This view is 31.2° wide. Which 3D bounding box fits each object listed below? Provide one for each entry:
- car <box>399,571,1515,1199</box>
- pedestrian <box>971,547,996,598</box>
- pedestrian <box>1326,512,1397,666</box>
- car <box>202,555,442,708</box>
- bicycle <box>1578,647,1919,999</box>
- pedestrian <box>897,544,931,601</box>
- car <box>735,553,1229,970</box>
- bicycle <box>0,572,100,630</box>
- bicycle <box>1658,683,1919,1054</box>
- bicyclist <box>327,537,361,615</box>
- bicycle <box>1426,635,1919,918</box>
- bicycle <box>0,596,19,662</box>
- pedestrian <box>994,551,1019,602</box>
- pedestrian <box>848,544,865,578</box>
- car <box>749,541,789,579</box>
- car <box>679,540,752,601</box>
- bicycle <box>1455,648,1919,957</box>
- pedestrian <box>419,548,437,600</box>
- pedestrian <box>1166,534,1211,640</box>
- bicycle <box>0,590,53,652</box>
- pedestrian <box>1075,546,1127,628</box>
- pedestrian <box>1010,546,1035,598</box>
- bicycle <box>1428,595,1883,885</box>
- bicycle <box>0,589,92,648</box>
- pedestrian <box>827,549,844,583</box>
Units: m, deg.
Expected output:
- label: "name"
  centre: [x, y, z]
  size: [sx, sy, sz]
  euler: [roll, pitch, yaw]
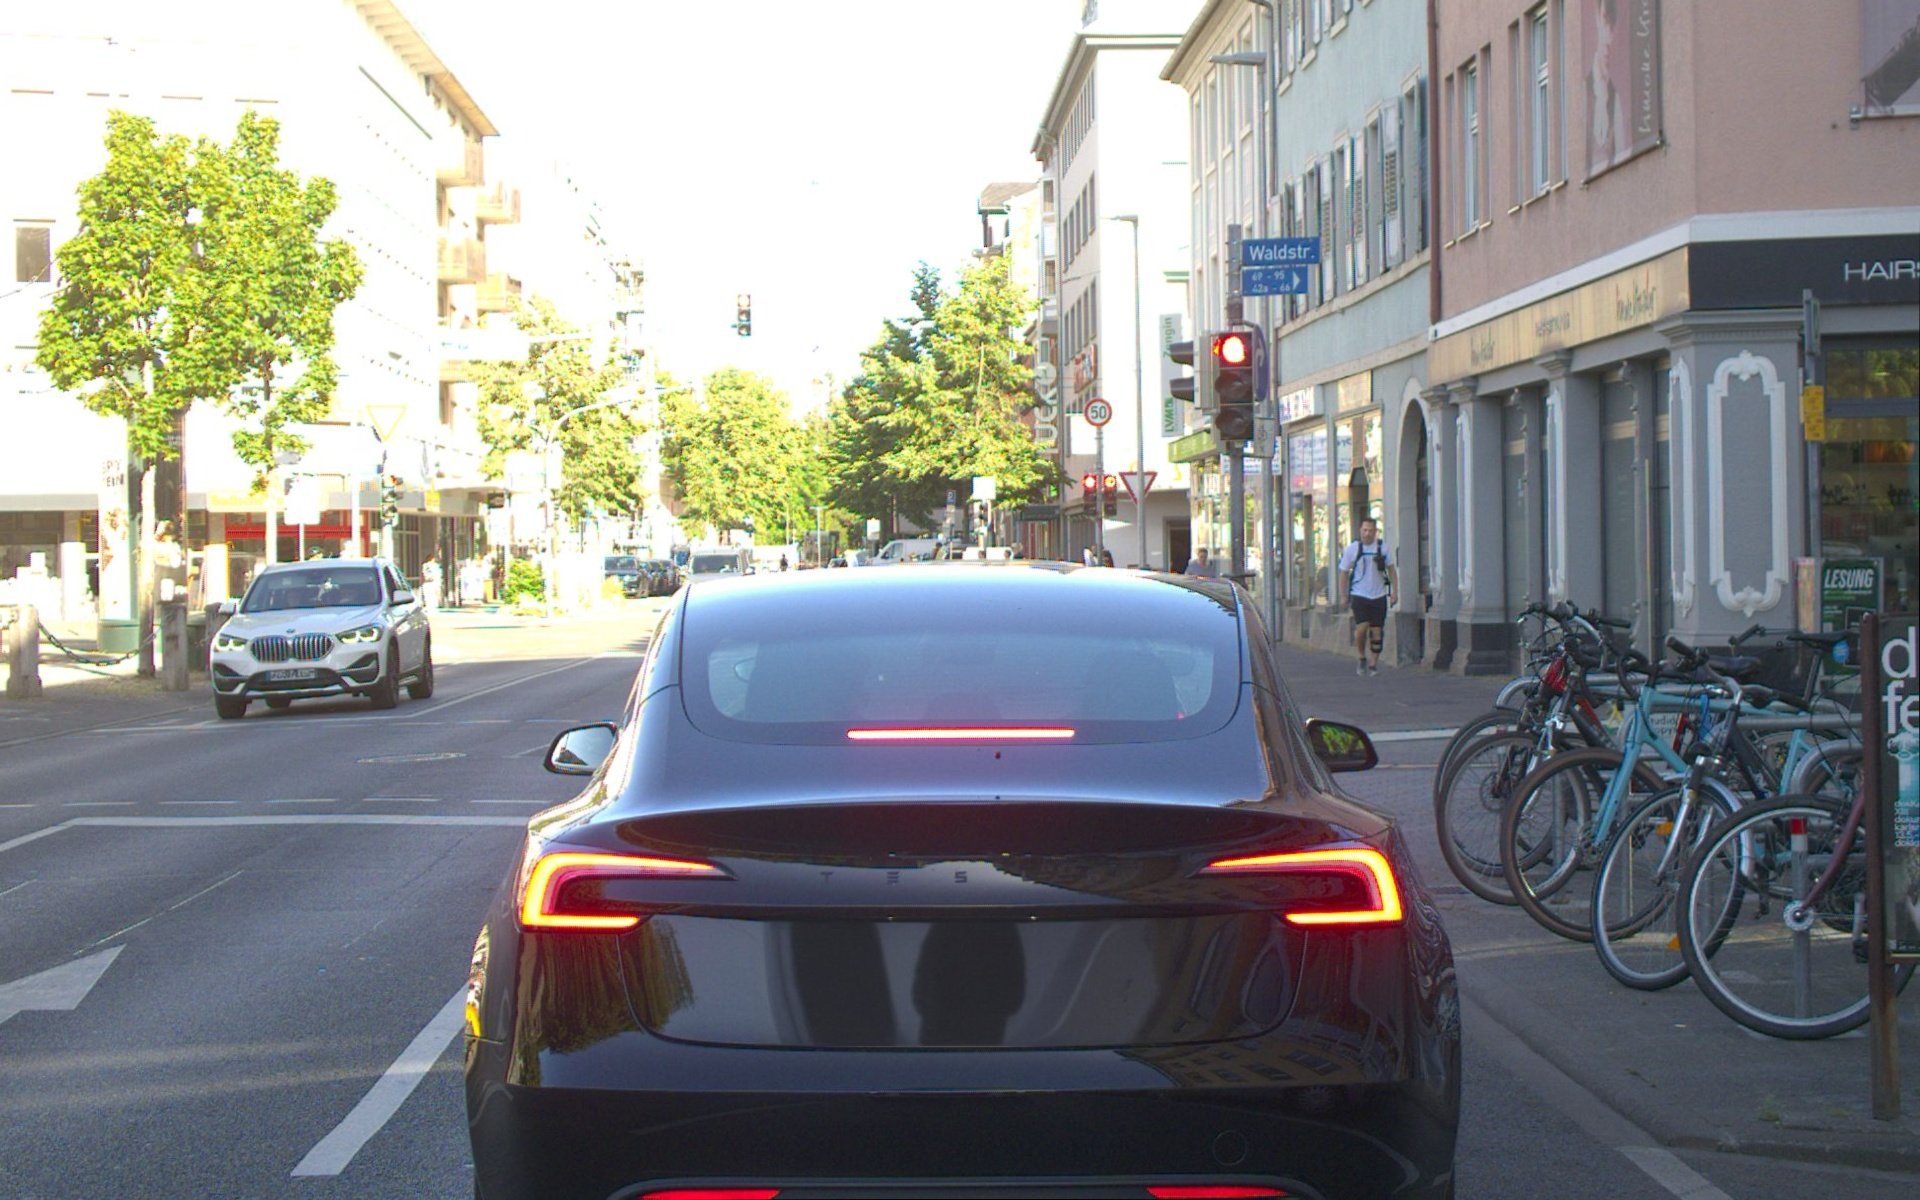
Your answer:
- label: "car"
  centre: [-0.027, 0.658, 7.622]
  size: [1.822, 1.437, 4.000]
  euler: [0, 1, -1]
- label: "pedestrian"
  centre: [0.647, -0.767, 95.822]
  size: [0.472, 1.412, 0.522]
  euler: [1, 0, -31]
- label: "pedestrian"
  centre: [4.630, -0.130, 39.698]
  size: [0.750, 1.759, 0.836]
  euler: [1, 0, 4]
- label: "car"
  centre: [-6.654, 0.292, 36.203]
  size: [1.789, 1.455, 3.757]
  euler: [-2, 1, 0]
- label: "bicycle"
  centre: [2.993, 0.704, 11.164]
  size: [1.873, 1.084, 0.414]
  euler: [-2, 0, 4]
- label: "pedestrian"
  centre: [-1.389, -0.837, 103.712]
  size: [0.715, 1.689, 0.851]
  euler: [0, 1, -28]
- label: "car"
  centre: [0.010, 0.536, 13.836]
  size: [1.718, 1.420, 3.758]
  euler: [0, 1, -2]
- label: "bicycle"
  centre: [-20.772, 0.017, 78.018]
  size: [2.361, 1.291, 0.513]
  euler: [1, 0, -26]
- label: "bicycle"
  centre: [3.011, 0.757, 9.971]
  size: [1.873, 1.034, 0.353]
  euler: [-2, 0, 6]
- label: "bicyclist"
  centre: [-11.861, -0.467, 66.156]
  size: [0.522, 1.498, 0.476]
  euler: [1, 0, -25]
- label: "bicycle"
  centre: [2.819, 0.691, 13.611]
  size: [1.873, 1.034, 0.547]
  euler: [-2, 0, 5]
- label: "bicycle"
  centre: [-14.650, 0.408, 49.802]
  size: [1.864, 0.931, 0.606]
  euler: [1, 0, -1]
- label: "pedestrian"
  centre: [1.285, -0.654, 95.174]
  size: [0.521, 1.417, 0.479]
  euler: [1, 0, -30]
- label: "pedestrian"
  centre: [-6.152, -2.288, 204.062]
  size: [0.930, 2.007, 0.938]
  euler: [1, 0, -1]
- label: "car"
  centre: [-10.396, -2.206, 187.247]
  size: [1.993, 2.007, 4.000]
  euler: [1, 1, -1]
- label: "car"
  centre: [-6.898, -0.838, 97.273]
  size: [1.787, 1.640, 4.403]
  euler: [1, 1, -1]
- label: "bicycle"
  centre: [2.775, 0.722, 12.459]
  size: [1.873, 1.034, 0.533]
  euler: [-2, 0, 4]
- label: "pedestrian"
  centre: [-14.886, -0.719, 96.158]
  size: [0.459, 1.455, 0.518]
  euler: [0, 1, -5]
- label: "pedestrian"
  centre: [3.780, -0.220, 56.973]
  size: [0.706, 1.736, 0.540]
  euler: [0, 1, -1]
- label: "bicycle"
  centre: [-14.813, 0.322, 52.318]
  size: [1.864, 0.931, 0.606]
  euler: [0, 1, -1]
- label: "pedestrian"
  centre: [2.843, -0.265, 69.376]
  size: [0.754, 1.626, 0.956]
  euler: [1, 0, -18]
- label: "pedestrian"
  centre: [1.738, -0.780, 95.779]
  size: [0.521, 1.417, 0.479]
  euler: [1, 0, -30]
- label: "bicycle"
  centre: [2.963, 0.594, 14.756]
  size: [1.828, 1.165, 0.505]
  euler: [-2, 0, 5]
- label: "bicycle"
  centre: [-14.841, 0.297, 54.767]
  size: [1.864, 0.931, 0.606]
  euler: [0, 1, -1]
- label: "pedestrian"
  centre: [-7.371, -2.015, 203.682]
  size: [0.930, 2.007, 0.938]
  euler: [1, 0, -1]
